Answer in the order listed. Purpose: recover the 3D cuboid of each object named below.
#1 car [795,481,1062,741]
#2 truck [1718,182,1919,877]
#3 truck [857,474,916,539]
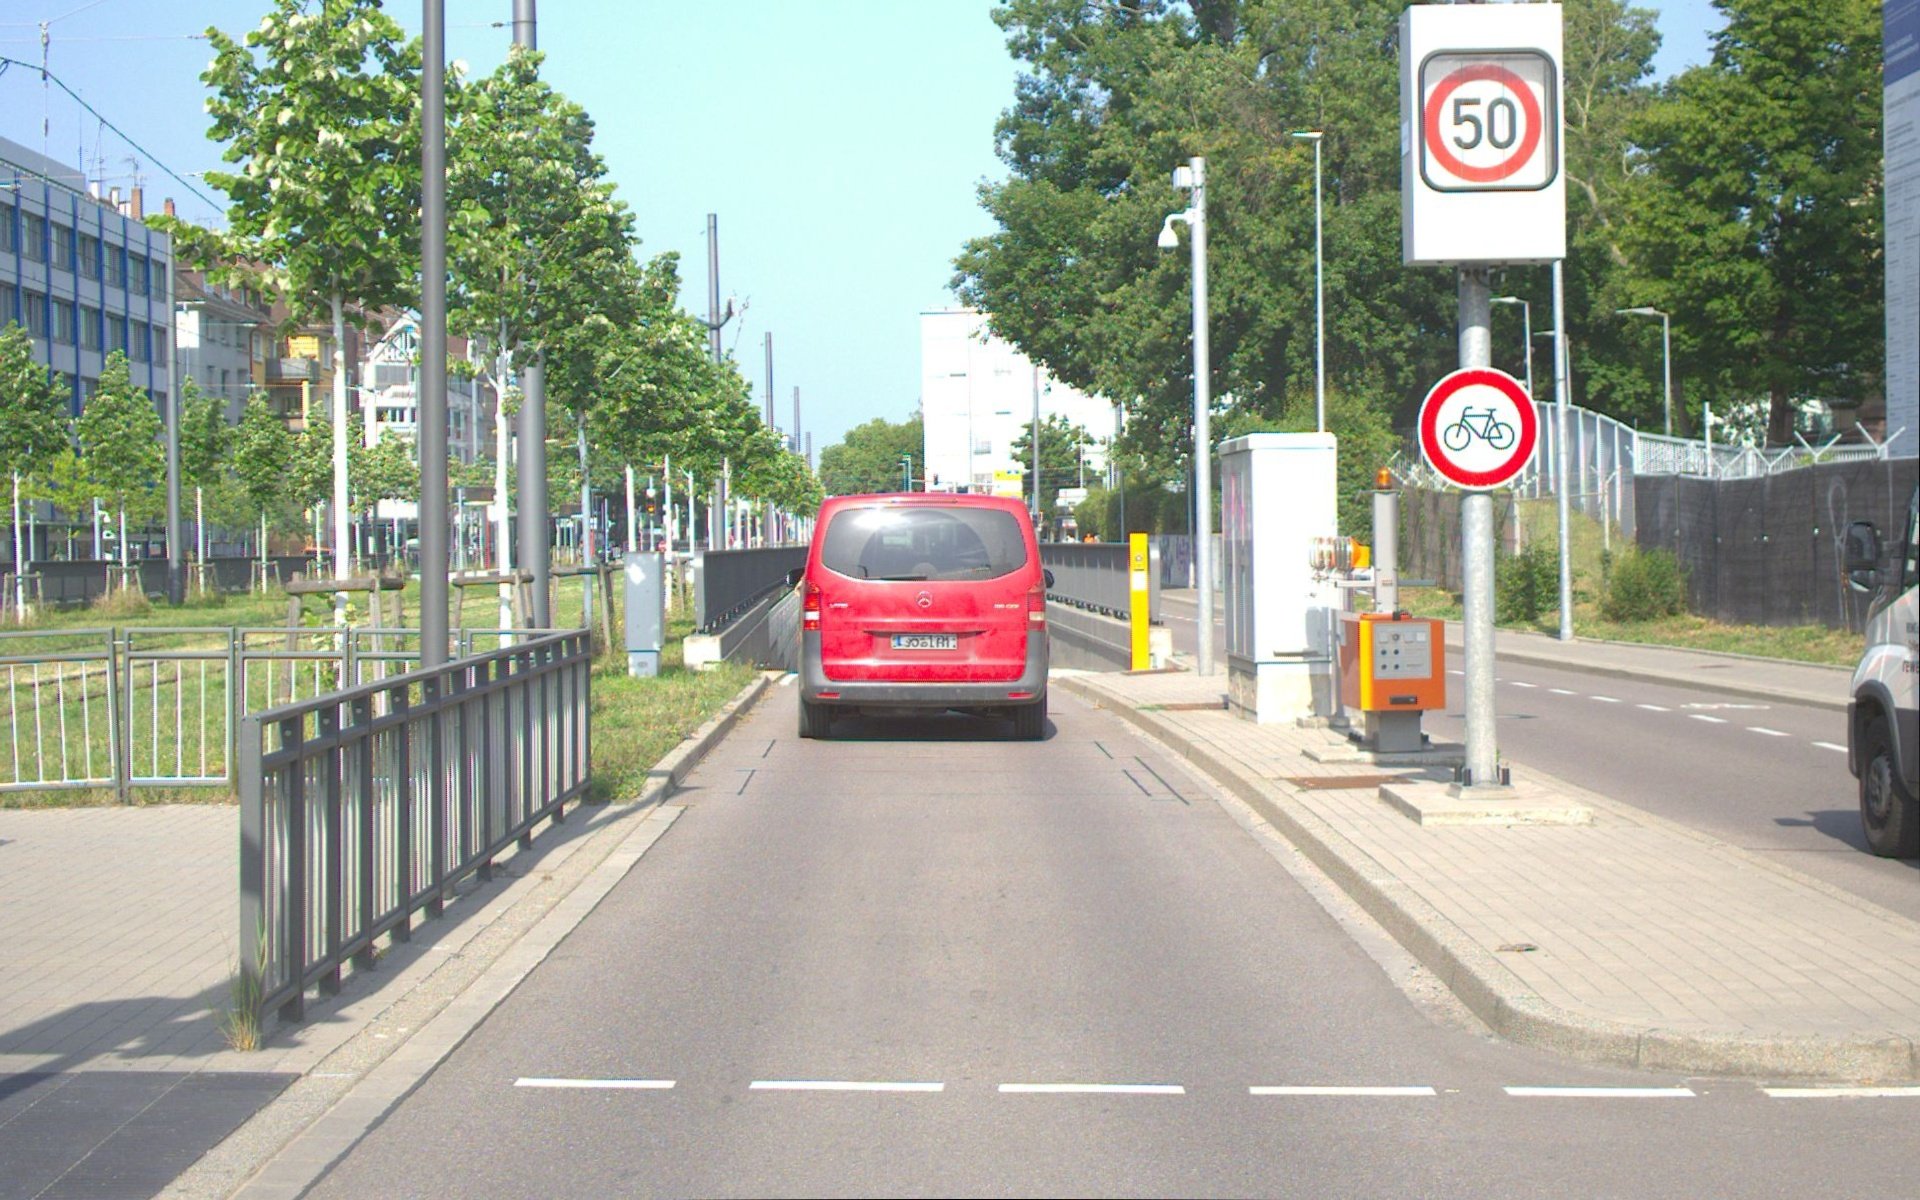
[{"bbox_3d":[-0.220,0.046,26.894,1.901,1.853,4.000,1,1,0],"label":"car"},{"bbox_3d":[5.476,-0.287,14.580,2.502,3.050,7.821,1,0,-2],"label":"truck"},{"bbox_3d":[-4.440,-5.557,205.540,3.390,3.713,10.452,-1,1,-2],"label":"truck"}]
